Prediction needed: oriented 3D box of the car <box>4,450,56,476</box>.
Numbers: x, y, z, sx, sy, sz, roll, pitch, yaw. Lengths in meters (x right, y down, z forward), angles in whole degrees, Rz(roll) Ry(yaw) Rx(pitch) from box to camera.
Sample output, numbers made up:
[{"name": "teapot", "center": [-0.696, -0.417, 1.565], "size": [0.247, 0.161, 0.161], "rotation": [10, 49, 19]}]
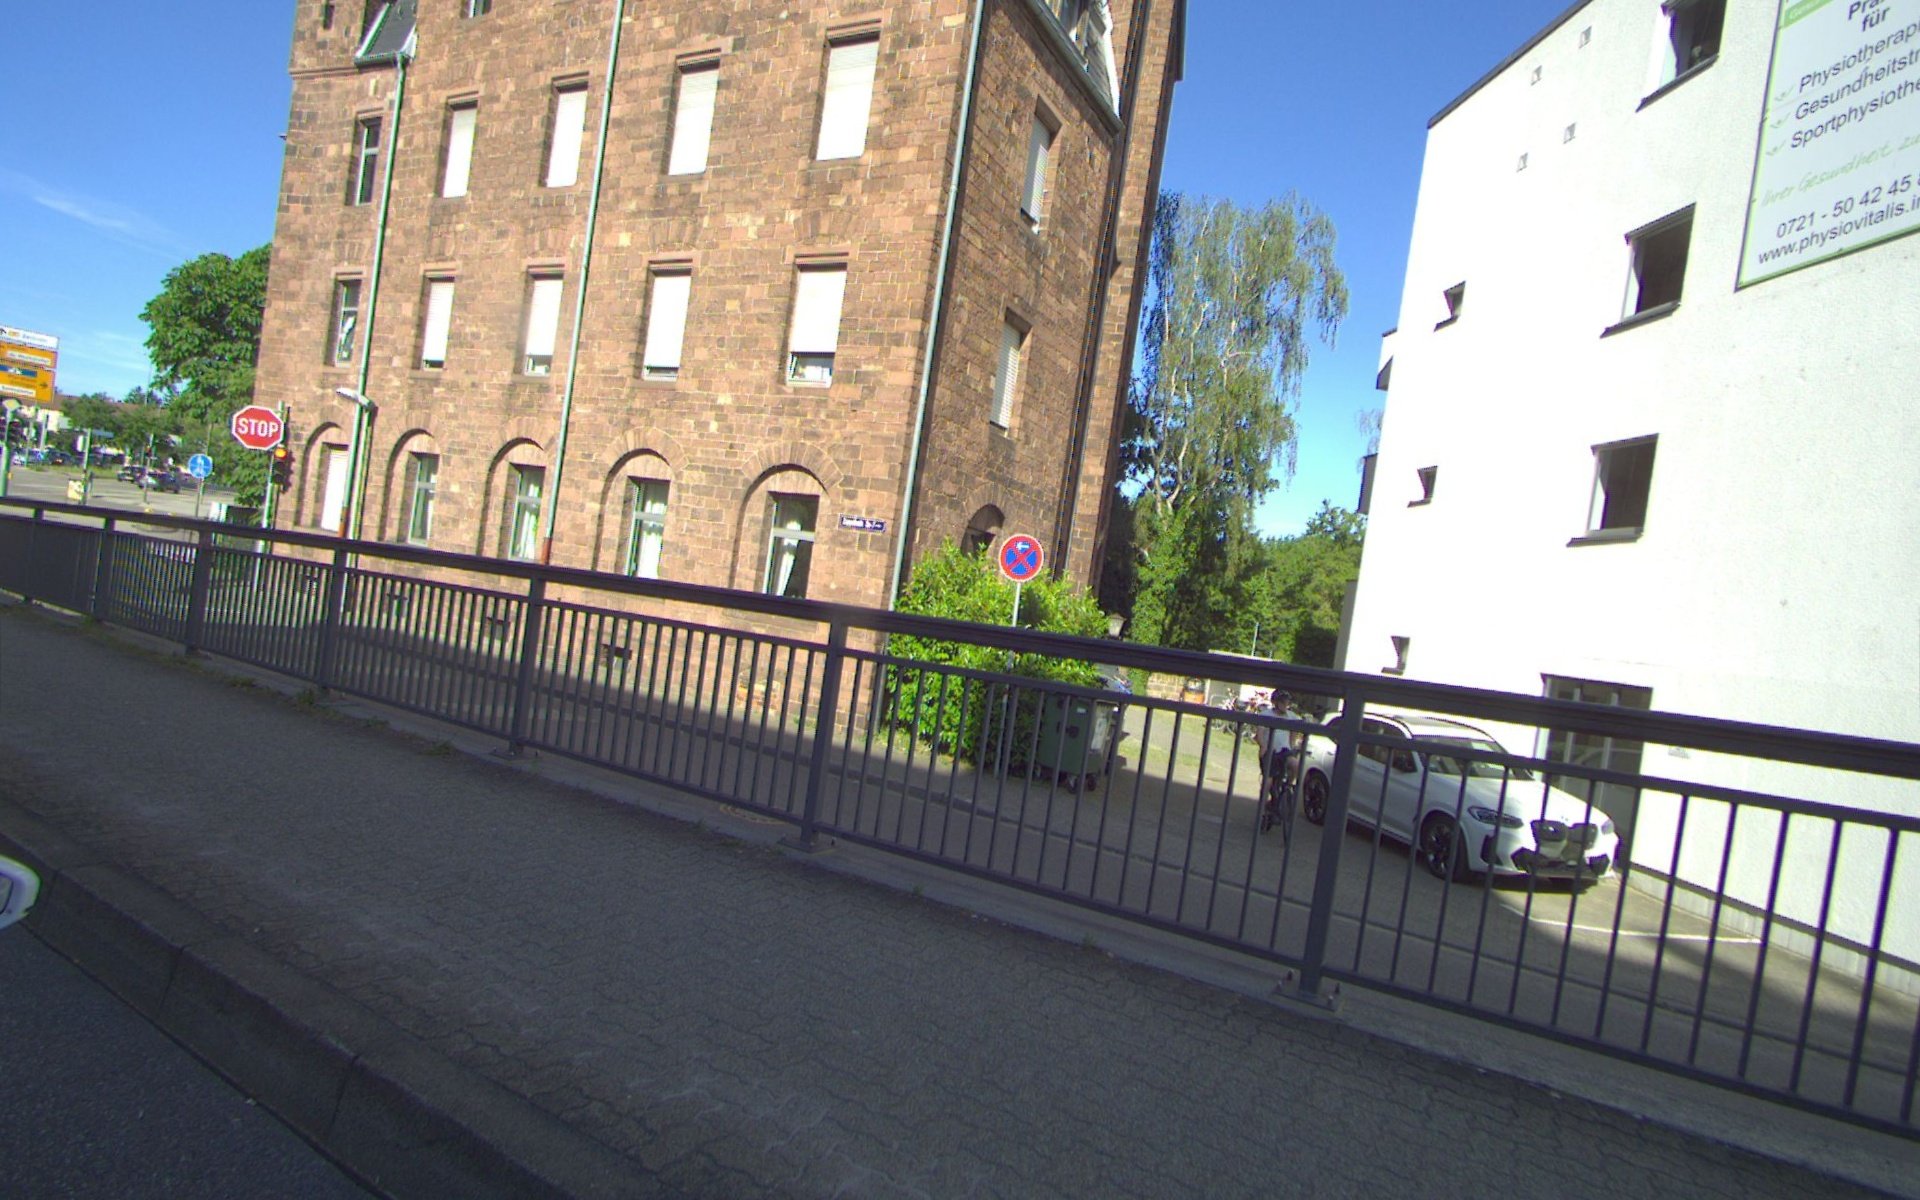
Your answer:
[{"name": "car", "center": [-79.755, -11.734, 86.338], "size": [1.860, 1.598, 3.978], "rotation": [8, 1, -22]}]

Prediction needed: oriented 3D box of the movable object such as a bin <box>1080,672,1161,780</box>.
[{"name": "movable object such as a bin", "center": [2.650, 2.030, 16.490], "size": [1.009, 1.539, 1.007], "rotation": [9, 0, 14]}]

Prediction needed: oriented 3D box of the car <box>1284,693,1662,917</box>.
[{"name": "car", "center": [6.225, 2.418, 12.972], "size": [1.814, 1.707, 4.521], "rotation": [8, 0, -10]}]

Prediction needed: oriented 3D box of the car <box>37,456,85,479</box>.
[{"name": "car", "center": [-82.182, -12.100, 92.036], "size": [1.860, 1.598, 3.978], "rotation": [8, 1, -22]}]

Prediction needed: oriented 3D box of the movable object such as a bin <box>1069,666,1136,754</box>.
[{"name": "movable object such as a bin", "center": [2.890, 2.193, 20.286], "size": [1.009, 1.539, 1.007], "rotation": [9, 0, 14]}]

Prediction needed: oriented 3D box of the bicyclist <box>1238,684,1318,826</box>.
[{"name": "bicyclist", "center": [4.004, 1.933, 12.715], "size": [0.675, 1.627, 0.697], "rotation": [9, 0, 13]}]

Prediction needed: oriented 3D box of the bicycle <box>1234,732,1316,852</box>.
[{"name": "bicycle", "center": [3.923, 2.356, 12.656], "size": [0.677, 1.154, 1.841], "rotation": [9, -1, 13]}]

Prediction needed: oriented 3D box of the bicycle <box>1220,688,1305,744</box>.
[{"name": "bicycle", "center": [7.903, 3.027, 26.284], "size": [1.889, 1.174, 0.664], "rotation": [8, 1, -6]}]

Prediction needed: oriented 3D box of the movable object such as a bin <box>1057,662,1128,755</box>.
[{"name": "movable object such as a bin", "center": [2.530, 2.028, 19.097], "size": [1.009, 1.539, 1.007], "rotation": [9, 0, 14]}]

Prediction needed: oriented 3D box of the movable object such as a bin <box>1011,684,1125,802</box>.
[{"name": "movable object such as a bin", "center": [1.446, 1.868, 13.345], "size": [1.011, 1.307, 1.005], "rotation": [10, 0, 29]}]

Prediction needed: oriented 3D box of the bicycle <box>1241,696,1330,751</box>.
[{"name": "bicycle", "center": [8.107, 3.085, 25.117], "size": [1.889, 1.065, 0.664], "rotation": [8, 1, -6]}]

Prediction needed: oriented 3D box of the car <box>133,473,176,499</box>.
[{"name": "car", "center": [-64.429, -9.115, 80.540], "size": [1.723, 1.515, 3.975], "rotation": [7, -1, -26]}]

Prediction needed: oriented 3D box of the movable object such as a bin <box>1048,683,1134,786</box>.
[{"name": "movable object such as a bin", "center": [2.011, 2.014, 15.308], "size": [1.009, 1.307, 1.007], "rotation": [10, 0, 14]}]

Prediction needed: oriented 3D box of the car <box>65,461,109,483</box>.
[{"name": "car", "center": [-85.332, -12.504, 98.389], "size": [1.860, 1.598, 3.978], "rotation": [8, 1, -22]}]

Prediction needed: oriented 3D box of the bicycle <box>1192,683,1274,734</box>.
[{"name": "bicycle", "center": [7.896, 3.135, 29.102], "size": [2.075, 1.174, 0.664], "rotation": [8, 1, -9]}]

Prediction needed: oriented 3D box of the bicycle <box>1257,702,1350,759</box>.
[{"name": "bicycle", "center": [8.213, 3.117, 24.089], "size": [1.889, 1.065, 0.664], "rotation": [8, 1, -6]}]

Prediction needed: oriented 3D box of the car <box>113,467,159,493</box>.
[{"name": "car", "center": [-71.657, -10.382, 87.526], "size": [1.866, 1.565, 3.980], "rotation": [8, -2, -23]}]

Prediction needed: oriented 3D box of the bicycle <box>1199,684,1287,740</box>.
[{"name": "bicycle", "center": [7.641, 3.028, 27.216], "size": [2.075, 1.174, 0.664], "rotation": [8, 1, -9]}]

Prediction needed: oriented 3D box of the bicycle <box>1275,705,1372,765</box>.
[{"name": "bicycle", "center": [8.369, 3.098, 23.202], "size": [1.889, 1.065, 0.664], "rotation": [8, 1, -6]}]

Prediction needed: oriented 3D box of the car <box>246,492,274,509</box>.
[{"name": "car", "center": [-75.727, -10.767, 108.852], "size": [1.979, 1.382, 4.278], "rotation": [8, 2, -30]}]

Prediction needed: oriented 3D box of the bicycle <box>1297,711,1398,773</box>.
[{"name": "bicycle", "center": [8.575, 3.143, 22.288], "size": [1.889, 1.065, 0.664], "rotation": [8, 1, -6]}]

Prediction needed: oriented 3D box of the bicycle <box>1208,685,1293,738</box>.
[{"name": "bicycle", "center": [8.140, 3.134, 28.249], "size": [2.075, 1.174, 0.664], "rotation": [8, 1, -9]}]
